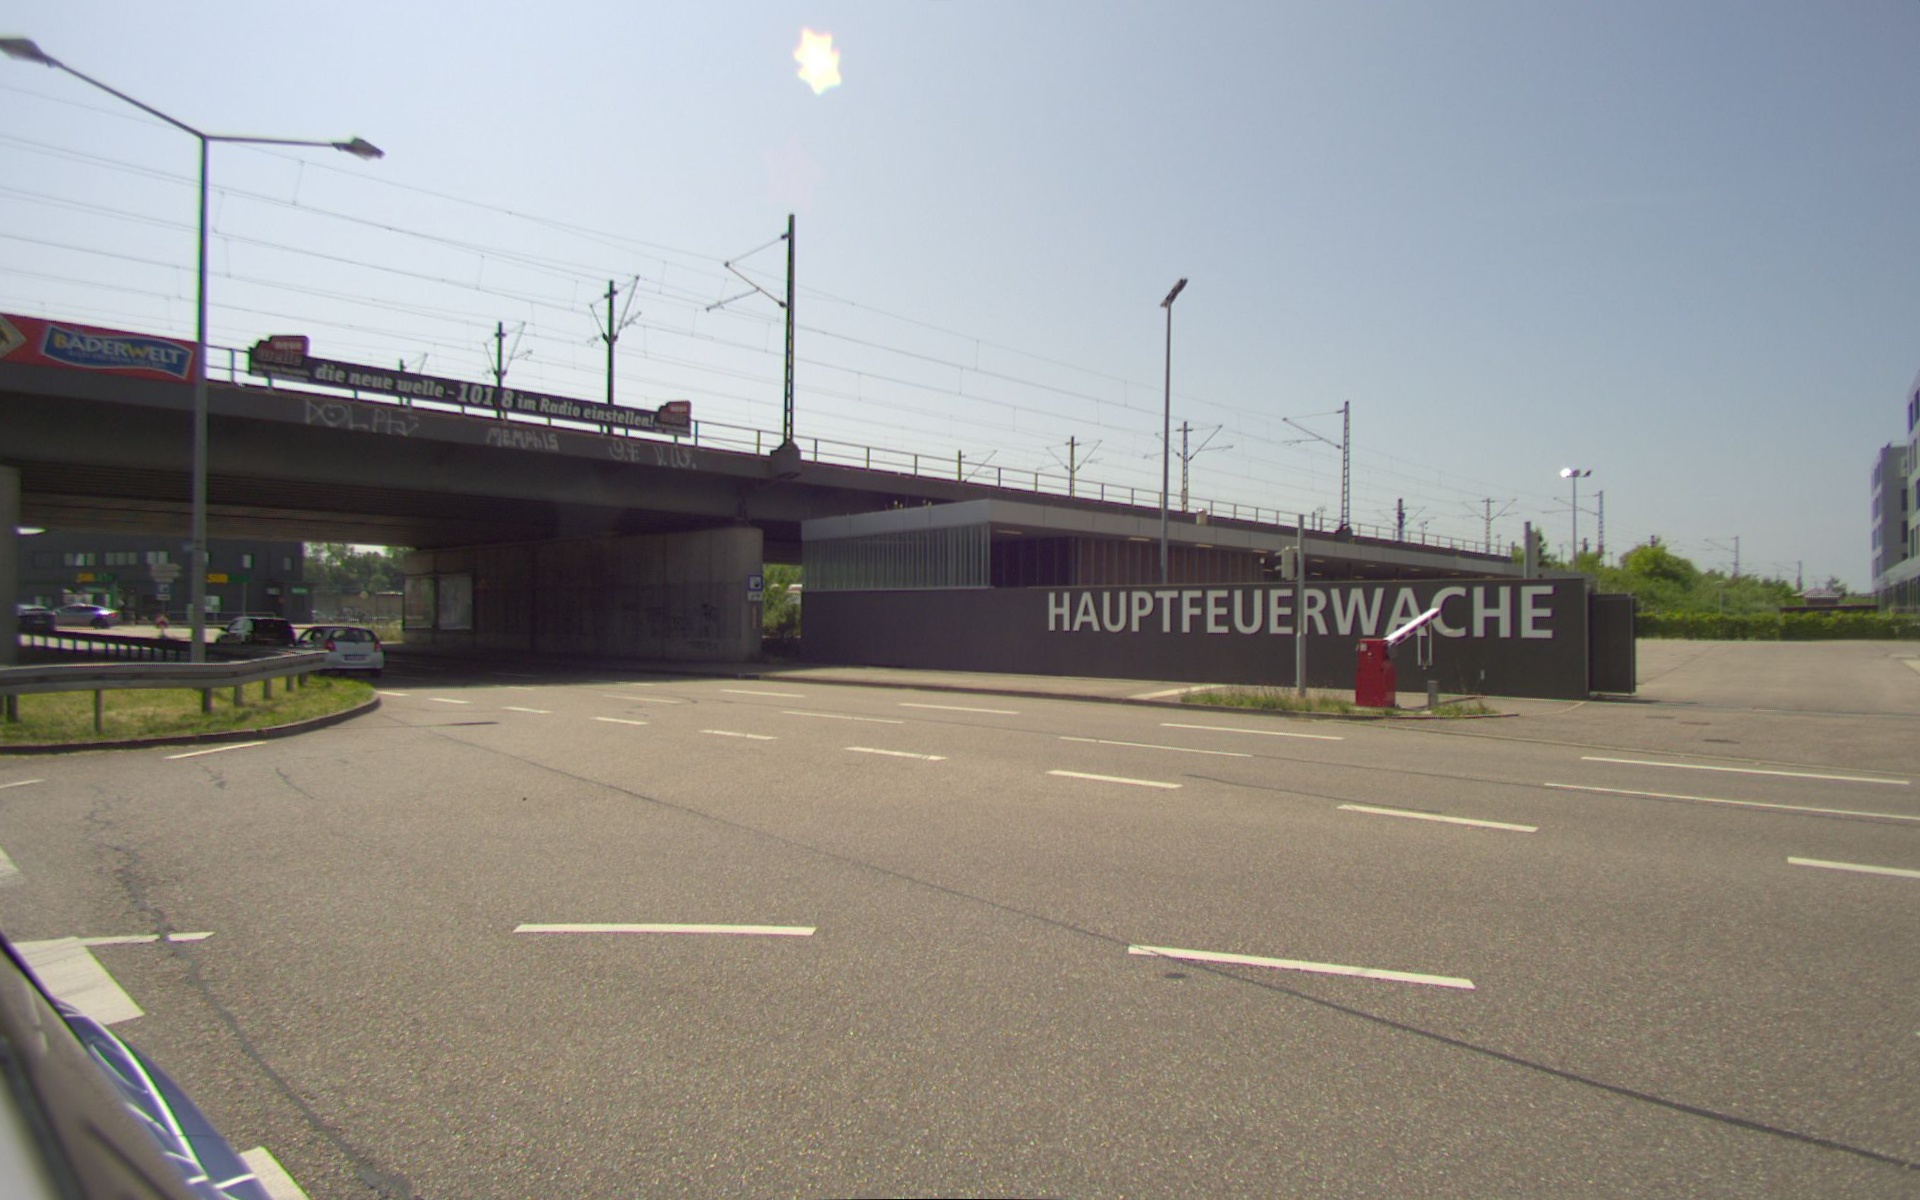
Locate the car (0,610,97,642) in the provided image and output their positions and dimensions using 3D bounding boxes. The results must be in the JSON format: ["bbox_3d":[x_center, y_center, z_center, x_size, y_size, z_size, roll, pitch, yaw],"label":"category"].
[{"bbox_3d":[-50.291,1.422,55.844,3.940,1.697,2.002,1,-2,-44],"label":"car"}]

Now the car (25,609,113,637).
[{"bbox_3d":[-56.554,1.461,64.327,3.932,1.697,2.005,1,-2,-33],"label":"car"}]

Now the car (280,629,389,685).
[{"bbox_3d":[-17.623,1.548,28.465,3.371,1.461,1.688,-1,-2,41],"label":"car"}]

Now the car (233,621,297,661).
[{"bbox_3d":[-28.131,1.651,40.906,1.685,1.556,3.378,2,-3,-42],"label":"car"}]
